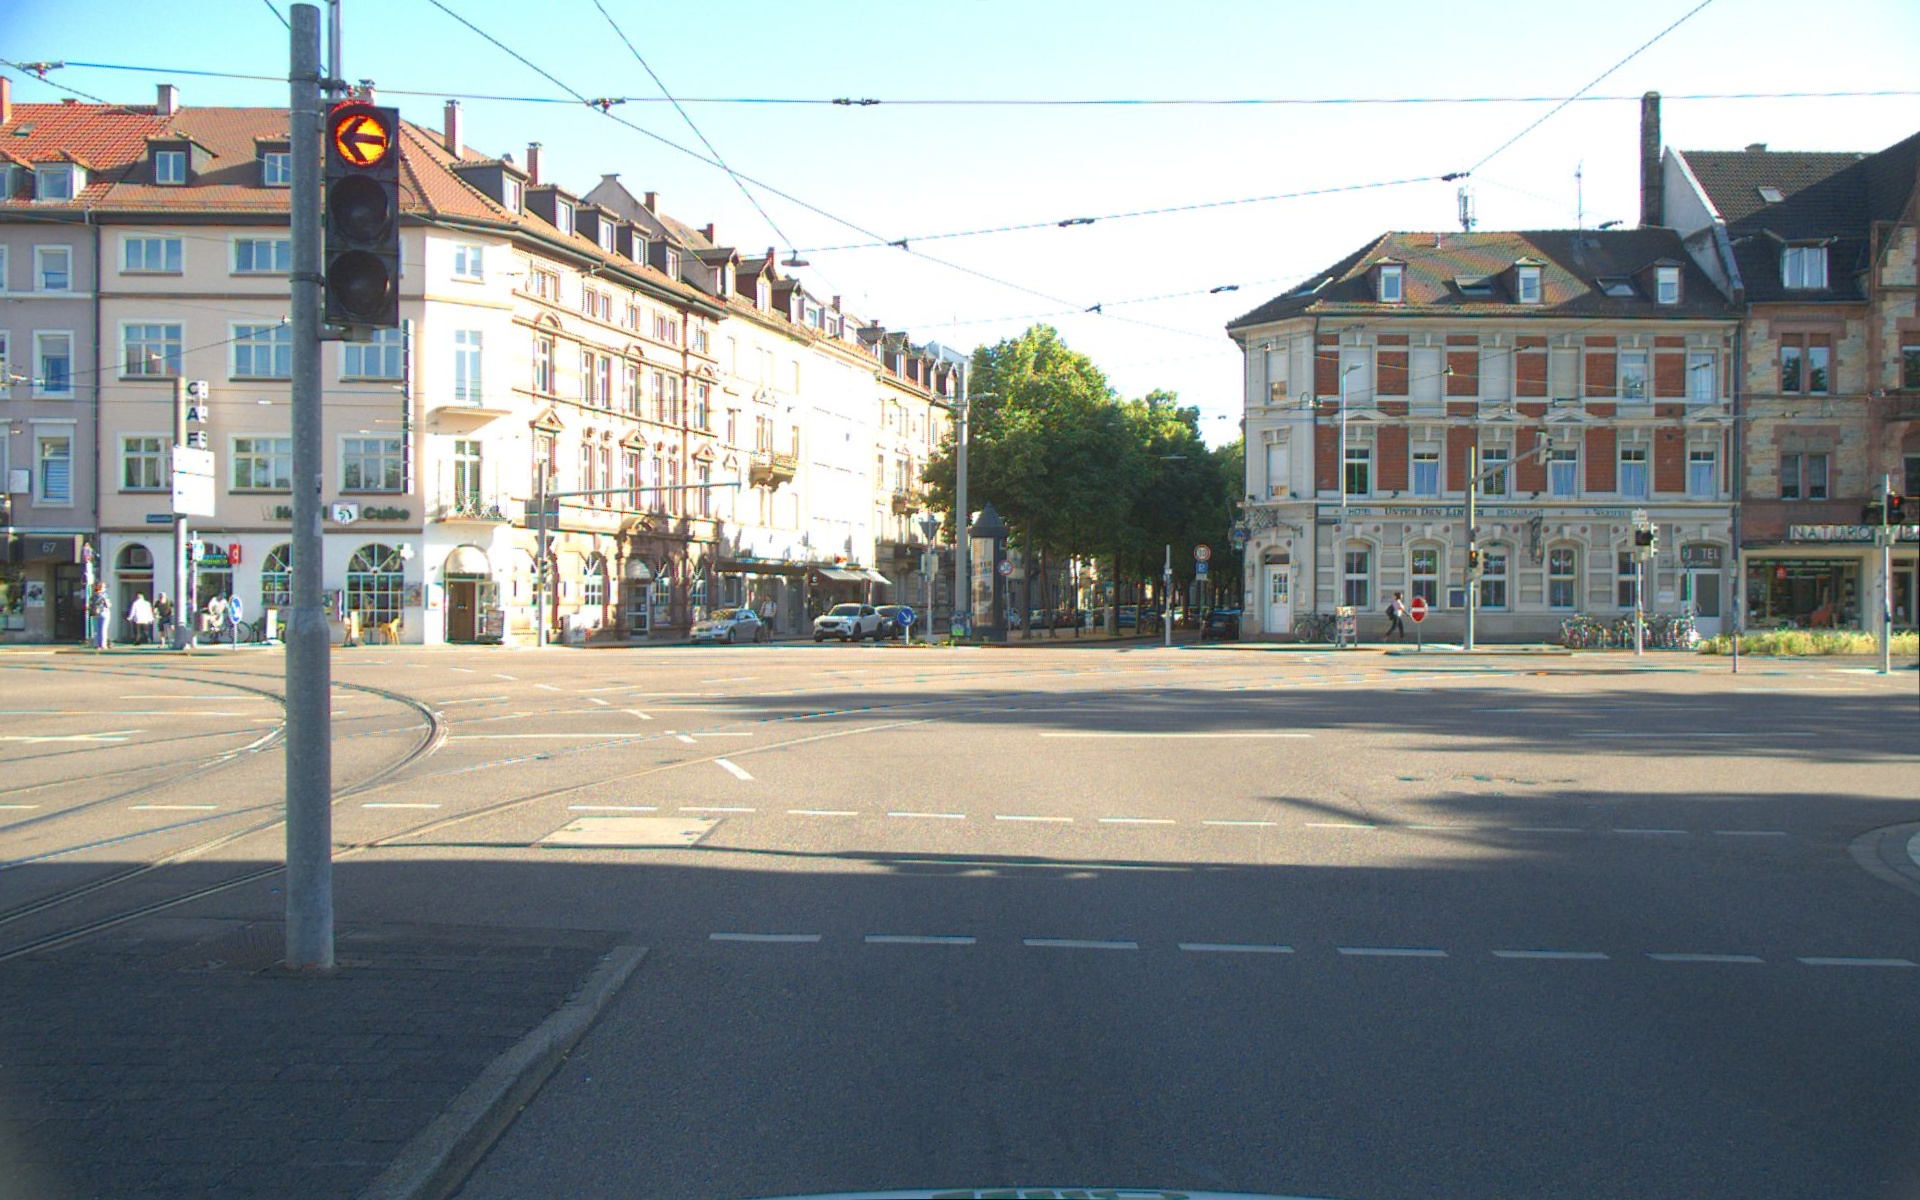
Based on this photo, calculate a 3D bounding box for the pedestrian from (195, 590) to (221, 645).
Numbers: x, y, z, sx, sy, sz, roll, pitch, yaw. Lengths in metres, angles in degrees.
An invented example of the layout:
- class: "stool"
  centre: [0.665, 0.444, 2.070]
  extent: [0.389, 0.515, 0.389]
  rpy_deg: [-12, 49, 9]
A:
- class: "pedestrian"
  centre: [-23.561, 0.554, 51.793]
  extent: [0.731, 1.711, 0.623]
  rpy_deg: [0, 0, -26]

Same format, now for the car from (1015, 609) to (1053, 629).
- class: "car"
  centre: [5.478, 1.368, 122.639]
  extent: [1.951, 1.429, 4.172]
  rpy_deg: [0, 0, 15]

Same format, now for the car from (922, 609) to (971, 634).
- class: "car"
  centre: [-0.816, 1.310, 102.056]
  extent: [1.951, 1.429, 4.172]
  rpy_deg: [0, 0, 15]

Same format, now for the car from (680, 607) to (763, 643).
- class: "car"
  centre: [-9.597, 0.982, 66.880]
  extent: [1.951, 1.385, 3.821]
  rpy_deg: [0, 0, 15]

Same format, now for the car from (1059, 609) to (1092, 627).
- class: "car"
  centre: [9.575, 1.469, 136.725]
  extent: [1.951, 1.429, 4.172]
  rpy_deg: [0, 0, 15]

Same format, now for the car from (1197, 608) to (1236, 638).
- class: "car"
  centre: [12.856, 1.135, 82.705]
  extent: [1.717, 1.445, 4.003]
  rpy_deg: [0, 0, 12]

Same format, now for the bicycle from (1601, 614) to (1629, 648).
- class: "bicycle"
  centre: [21.164, 0.997, 53.483]
  extent: [0.476, 1.038, 1.785]
  rpy_deg: [0, 0, 9]

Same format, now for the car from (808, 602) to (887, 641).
- class: "car"
  centre: [-4.529, 0.843, 67.386]
  extent: [1.951, 1.542, 4.172]
  rpy_deg: [0, 0, 15]

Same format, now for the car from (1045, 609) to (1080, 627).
- class: "car"
  centre: [8.146, 1.422, 131.507]
  extent: [1.951, 1.429, 4.172]
  rpy_deg: [0, 0, 15]

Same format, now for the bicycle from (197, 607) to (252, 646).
- class: "bicycle"
  centre: [-25.137, 0.896, 56.530]
  extent: [1.684, 1.299, 0.385]
  rpy_deg: [0, 0, -18]

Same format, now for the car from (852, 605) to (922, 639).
- class: "car"
  centre: [-3.224, 0.948, 73.578]
  extent: [1.951, 1.429, 4.172]
  rpy_deg: [0, 0, 15]

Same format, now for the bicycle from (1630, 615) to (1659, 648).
- class: "bicycle"
  centre: [22.112, 1.013, 53.479]
  extent: [0.476, 1.038, 1.785]
  rpy_deg: [0, 0, 9]

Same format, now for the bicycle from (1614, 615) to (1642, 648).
- class: "bicycle"
  centre: [21.614, 1.005, 53.551]
  extent: [0.476, 1.038, 1.785]
  rpy_deg: [0, 0, 9]

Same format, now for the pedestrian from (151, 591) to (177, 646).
- class: "pedestrian"
  centre: [-24.951, 0.584, 51.834]
  extent: [0.731, 1.711, 0.623]
  rpy_deg: [0, 0, -26]

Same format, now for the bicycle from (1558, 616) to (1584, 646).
- class: "bicycle"
  centre: [19.806, 1.011, 53.651]
  extent: [0.476, 0.930, 1.785]
  rpy_deg: [0, 0, 9]

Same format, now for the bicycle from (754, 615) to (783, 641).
- class: "bicycle"
  centre: [-7.554, 1.095, 65.166]
  extent: [0.641, 1.018, 1.666]
  rpy_deg: [1, 0, 11]

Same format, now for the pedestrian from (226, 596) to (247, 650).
- class: "pedestrian"
  centre: [-17.238, 0.544, 39.418]
  extent: [0.358, 1.275, 0.449]
  rpy_deg: [0, 0, -12]

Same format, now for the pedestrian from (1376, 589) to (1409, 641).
- class: "pedestrian"
  centre: [14.848, 0.521, 56.795]
  extent: [1.013, 1.741, 0.630]
  rpy_deg: [1, -1, 8]

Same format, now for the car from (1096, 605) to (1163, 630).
- class: "car"
  centre: [10.252, 1.030, 99.823]
  extent: [3.902, 1.480, 1.683]
  rpy_deg: [0, 0, 10]

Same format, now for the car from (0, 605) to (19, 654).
- class: "car"
  centre: [-32.126, 0.902, 52.320]
  extent: [3.651, 1.517, 1.818]
  rpy_deg: [1, 0, 2]

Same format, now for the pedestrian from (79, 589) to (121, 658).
- class: "pedestrian"
  centre: [-21.388, 0.572, 41.141]
  extent: [0.725, 1.711, 0.628]
  rpy_deg: [0, 0, -1]

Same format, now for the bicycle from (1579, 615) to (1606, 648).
- class: "bicycle"
  centre: [20.475, 1.018, 53.574]
  extent: [0.476, 1.038, 1.785]
  rpy_deg: [0, 0, 9]

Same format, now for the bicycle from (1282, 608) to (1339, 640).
- class: "bicycle"
  centre: [12.178, 0.824, 57.513]
  extent: [1.911, 1.072, 0.716]
  rpy_deg: [0, 0, 9]

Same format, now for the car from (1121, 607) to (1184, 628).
- class: "car"
  centre: [12.319, 1.132, 105.561]
  extent: [3.902, 1.311, 1.696]
  rpy_deg: [0, 0, 10]

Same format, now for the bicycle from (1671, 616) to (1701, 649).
- class: "bicycle"
  centre: [23.592, 1.040, 53.741]
  extent: [0.476, 1.038, 1.785]
  rpy_deg: [0, 0, 9]

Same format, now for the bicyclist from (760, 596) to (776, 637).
- class: "bicyclist"
  centre: [-7.545, 0.650, 65.067]
  extent: [0.479, 1.629, 0.667]
  rpy_deg: [0, 0, 9]

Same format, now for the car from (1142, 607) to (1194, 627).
- class: "car"
  centre: [14.048, 1.141, 111.660]
  extent: [3.360, 1.261, 1.578]
  rpy_deg: [0, 0, 10]

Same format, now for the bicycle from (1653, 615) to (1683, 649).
- class: "bicycle"
  centre: [22.907, 1.027, 53.559]
  extent: [0.476, 1.038, 1.785]
  rpy_deg: [0, 0, 9]

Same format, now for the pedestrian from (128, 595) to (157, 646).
- class: "pedestrian"
  centre: [-27.287, 0.680, 55.184]
  extent: [0.727, 1.711, 0.626]
  rpy_deg: [0, 0, -12]

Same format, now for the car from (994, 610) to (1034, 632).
- class: "car"
  centre: [3.820, 1.475, 116.893]
  extent: [1.951, 1.429, 4.172]
  rpy_deg: [0, 0, 15]
